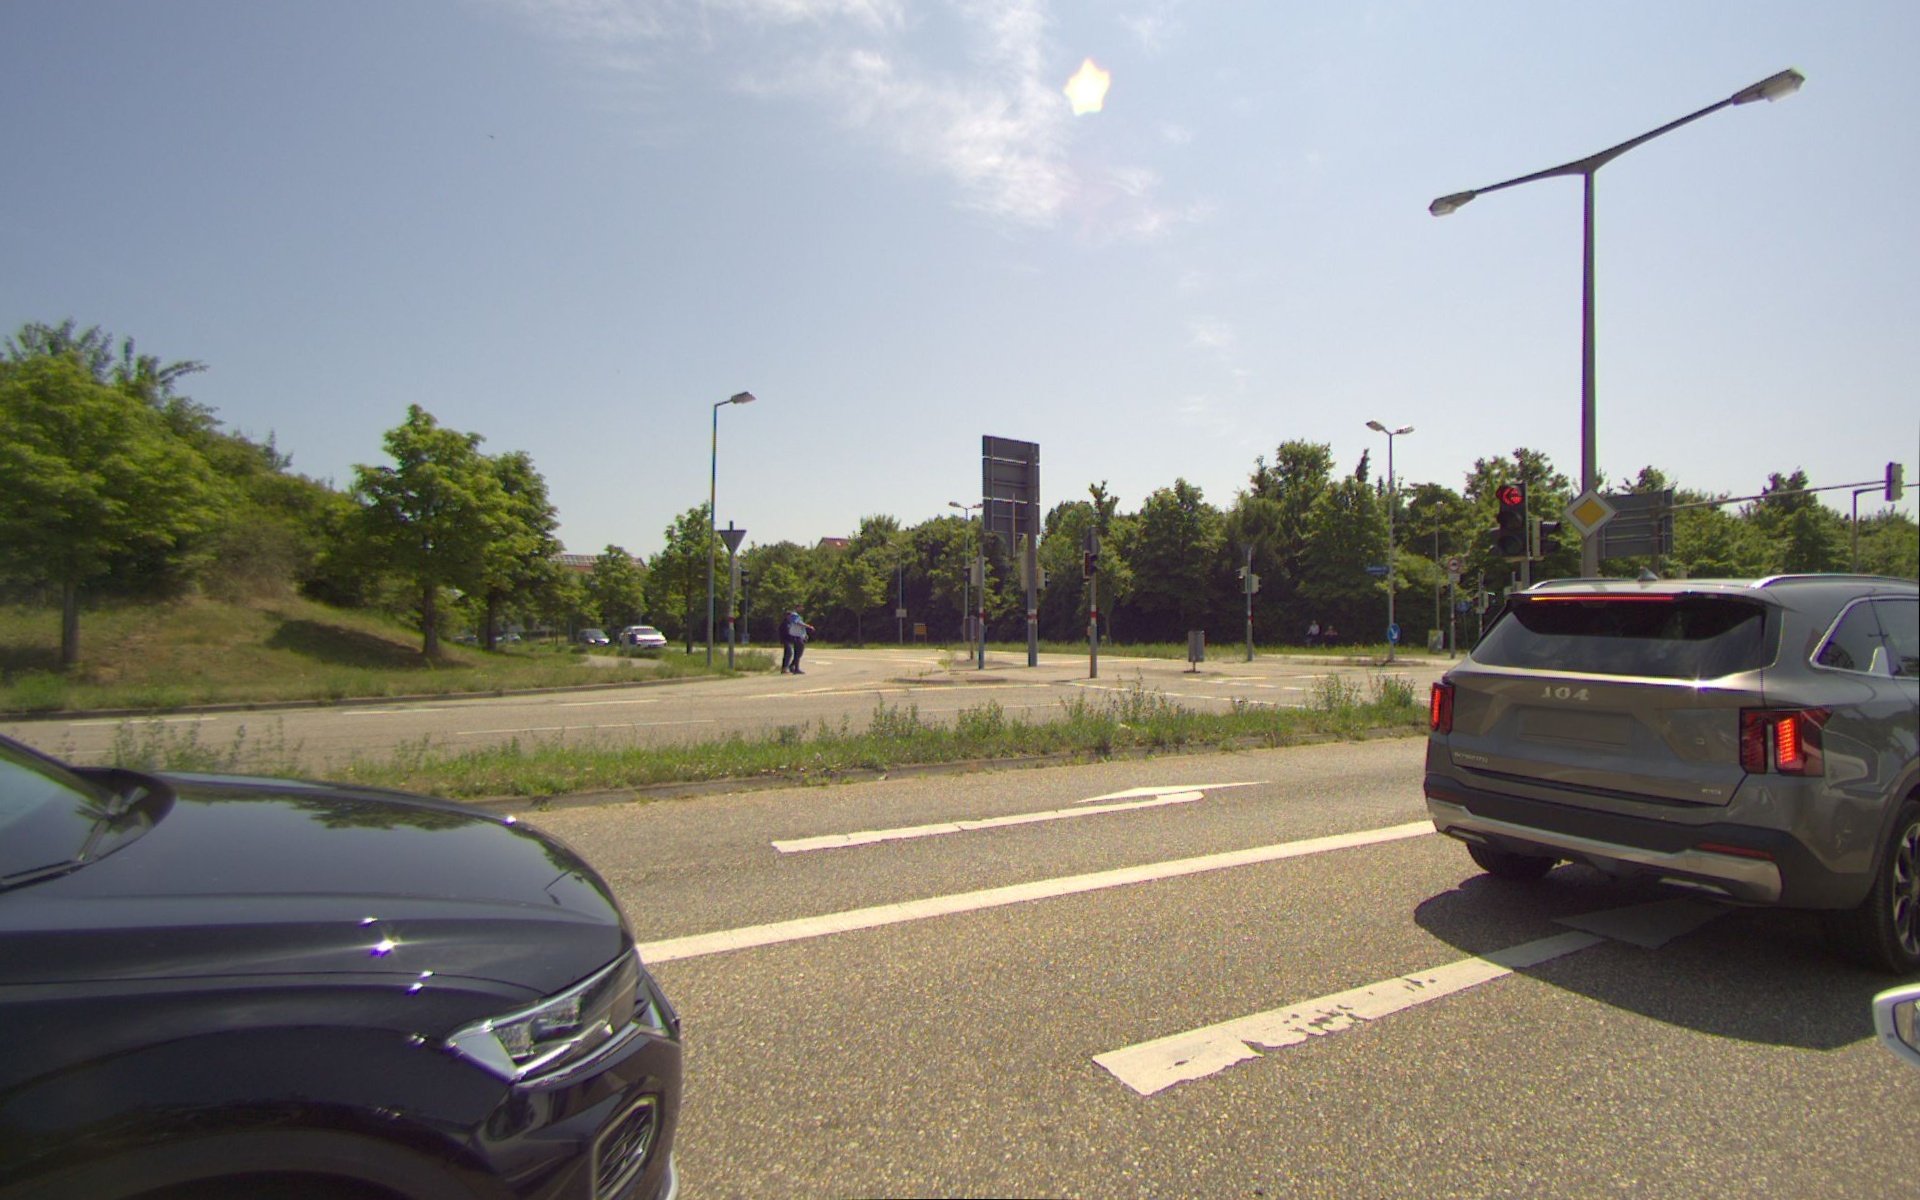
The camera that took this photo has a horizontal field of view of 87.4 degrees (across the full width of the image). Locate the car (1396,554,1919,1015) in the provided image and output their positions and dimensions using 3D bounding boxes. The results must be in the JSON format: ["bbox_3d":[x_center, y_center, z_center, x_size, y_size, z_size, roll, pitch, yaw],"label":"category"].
[{"bbox_3d":[4.693,0.736,5.631,4.590,1.684,1.795,1,-1,-30],"label":"car"}]

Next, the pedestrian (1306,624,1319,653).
[{"bbox_3d":[19.757,2.159,56.250,0.606,1.624,0.798,-1,-1,24],"label":"pedestrian"}]

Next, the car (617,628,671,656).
[{"bbox_3d":[-18.654,2.472,59.185,1.860,1.522,4.269,-2,-1,-34],"label":"car"}]

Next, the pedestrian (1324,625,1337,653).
[{"bbox_3d":[20.583,2.167,55.765,0.606,1.523,0.798,0,-1,24],"label":"pedestrian"}]

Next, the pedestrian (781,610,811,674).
[{"bbox_3d":[-4.553,1.152,27.865,0.779,1.759,0.582,0,-1,-11],"label":"pedestrian"}]

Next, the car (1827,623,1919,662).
[{"bbox_3d":[36.455,1.651,39.896,4.119,1.475,1.814,1,-1,-30],"label":"car"}]

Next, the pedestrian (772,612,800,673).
[{"bbox_3d":[-4.980,1.213,28.749,0.761,1.722,0.723,0,-1,-11],"label":"pedestrian"}]

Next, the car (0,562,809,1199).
[{"bbox_3d":[-2.386,0.687,1.444,3.924,1.532,1.726,2,0,-30],"label":"car"}]

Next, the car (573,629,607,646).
[{"bbox_3d":[-29.490,2.960,79.994,1.685,1.353,3.964,1,-2,-33],"label":"car"}]

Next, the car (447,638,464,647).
[{"bbox_3d":[-79.931,6.741,159.129,1.689,1.353,3.955,1,-2,-39],"label":"car"}]
